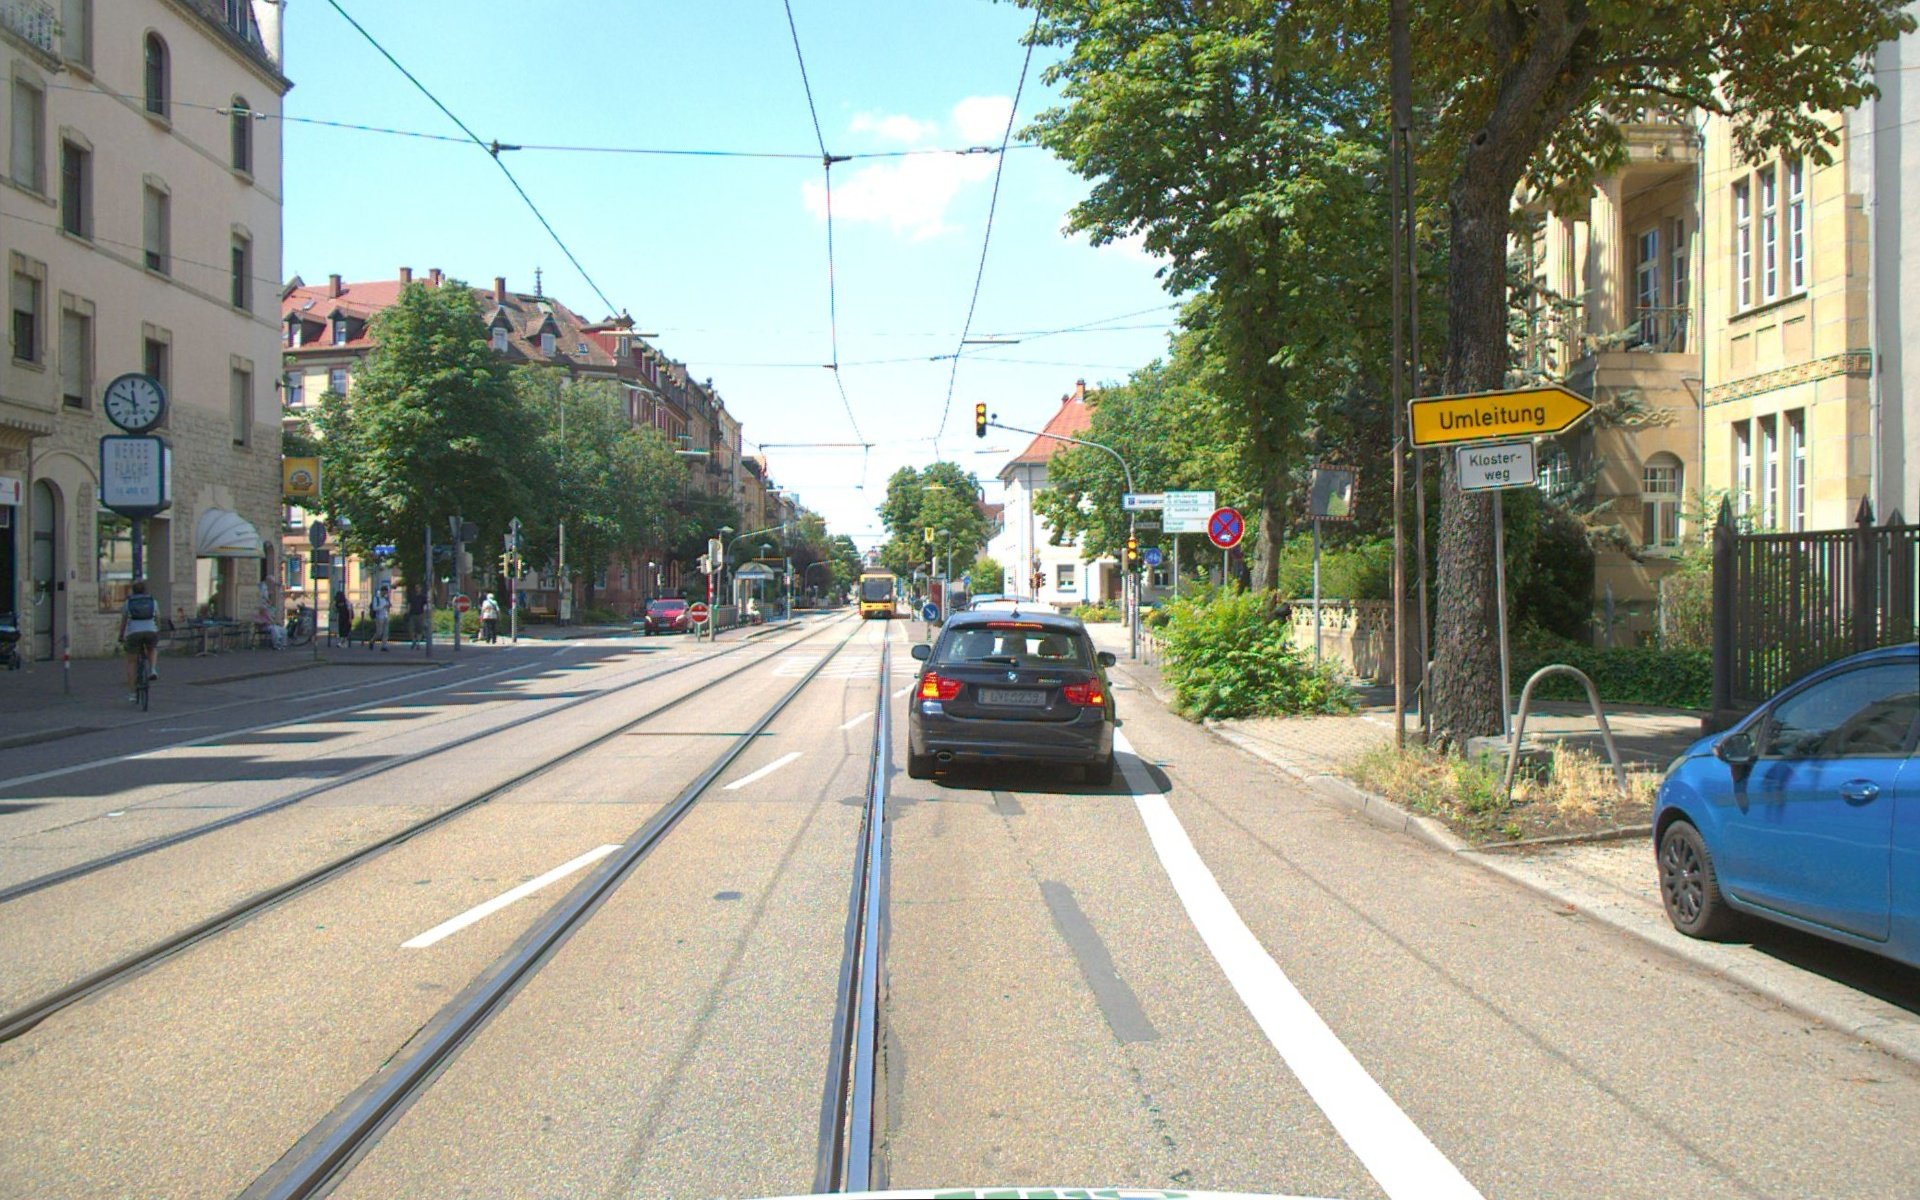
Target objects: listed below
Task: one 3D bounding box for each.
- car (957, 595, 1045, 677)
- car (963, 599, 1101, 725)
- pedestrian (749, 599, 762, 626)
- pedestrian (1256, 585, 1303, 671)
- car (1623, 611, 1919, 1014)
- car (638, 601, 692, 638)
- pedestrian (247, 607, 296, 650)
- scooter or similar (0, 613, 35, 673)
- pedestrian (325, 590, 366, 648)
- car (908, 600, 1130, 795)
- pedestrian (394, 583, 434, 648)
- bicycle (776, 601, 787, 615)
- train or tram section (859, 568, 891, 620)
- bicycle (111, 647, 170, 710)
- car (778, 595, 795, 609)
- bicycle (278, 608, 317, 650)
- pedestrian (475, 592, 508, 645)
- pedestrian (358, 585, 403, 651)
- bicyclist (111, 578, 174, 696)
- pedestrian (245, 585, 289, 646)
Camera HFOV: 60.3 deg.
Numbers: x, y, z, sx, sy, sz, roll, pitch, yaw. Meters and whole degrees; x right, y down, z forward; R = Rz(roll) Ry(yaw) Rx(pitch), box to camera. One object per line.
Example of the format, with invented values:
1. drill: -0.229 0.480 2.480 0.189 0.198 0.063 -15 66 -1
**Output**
1. car: 0.827 0.694 33.954 1.656 1.540 3.821 1 0 1
2. car: 0.877 0.752 21.989 1.650 1.510 3.684 0 0 0
3. pedestrian: -9.747 0.591 78.756 0.602 1.264 0.627 0 0 -8
4. pedestrian: 6.378 0.552 33.015 0.838 1.674 0.837 0 0 6
5. car: 4.365 0.803 6.772 1.644 1.469 3.718 0 0 -3
6. car: -12.383 0.789 69.563 1.787 1.438 4.424 -2 0 -5
7. pedestrian: -17.918 0.745 43.062 0.897 1.096 0.882 0 0 -2
8. scooter or similar: -17.433 0.772 30.192 0.690 1.062 1.191 2 -1 -43
9. pedestrian: -17.771 0.534 47.826 0.843 1.664 1.025 0 0 -4
10. car: 0.497 0.759 15.171 1.687 1.433 4.565 2 0 1
11. pedestrian: -16.429 0.469 49.786 0.883 1.924 1.164 0 0 -3
12. bicycle: -13.972 0.610 129.288 0.714 1.121 1.715 0 0 -1
13. train or tram section: -6.003 -0.443 116.770 2.146 3.543 8.840 0 0 -3
14. bicycle: -11.965 1.127 24.189 0.743 0.832 1.805 0 0 -26
15. car: -21.272 0.223 202.908 1.755 1.614 3.989 1 -1 -11
16. bicycle: -18.651 0.836 46.560 0.539 1.148 1.659 0 -2 -39
17. pedestrian: -15.729 0.615 55.528 0.905 1.753 0.833 0 0 -27
18. pedestrian: -15.741 0.487 44.919 0.845 1.763 0.773 1 0 35
19. bicyclist: -12.011 0.542 24.327 0.746 1.692 0.825 2 -1 -24
20. pedestrian: -18.729 0.413 44.700 0.899 1.622 0.808 0 0 -6
